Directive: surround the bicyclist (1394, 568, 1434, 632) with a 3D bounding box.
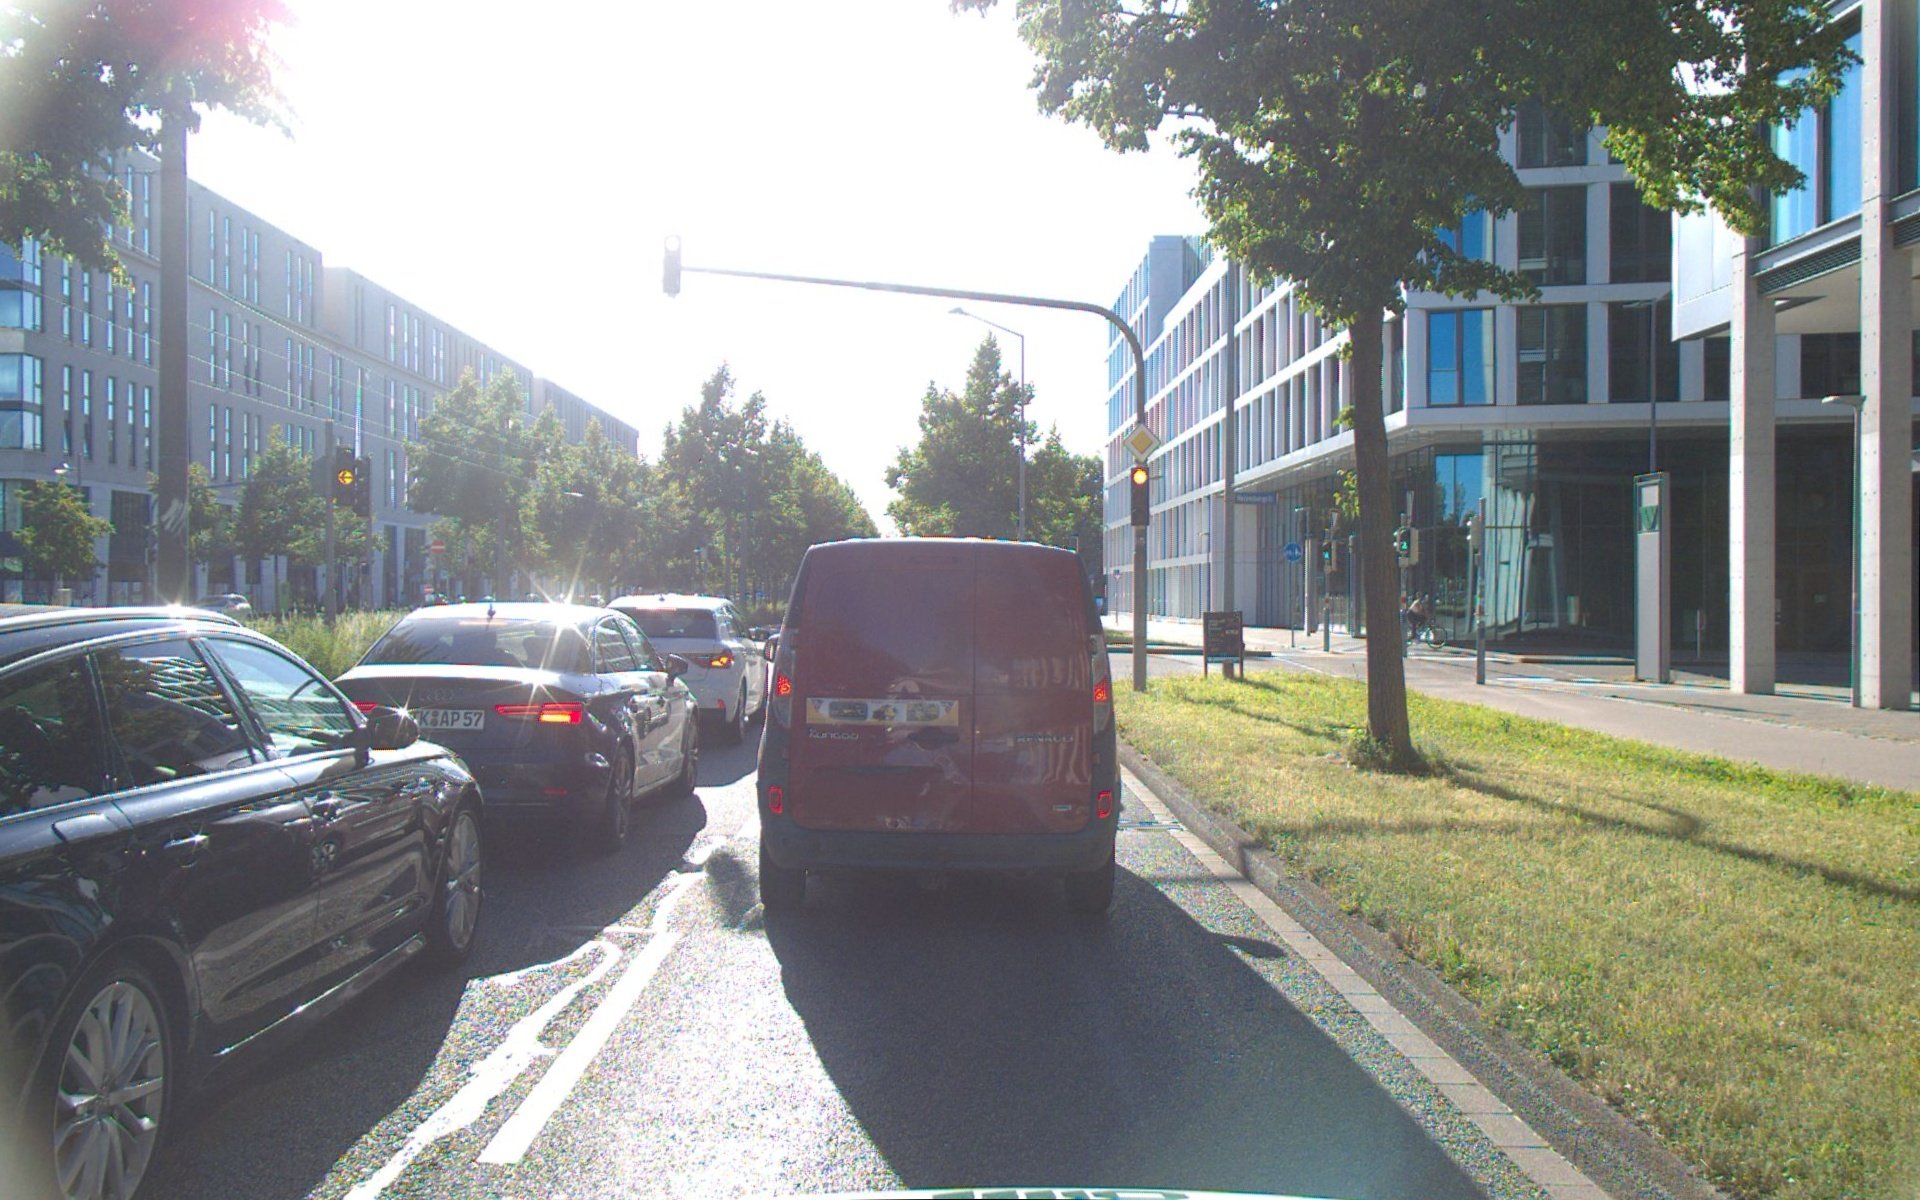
[{"bbox_3d":[14.202,-0.013,51.750,0.983,1.981,0.813,0,0,40],"label":"bicyclist"}]

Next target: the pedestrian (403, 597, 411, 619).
[{"bbox_3d":[-44.836,0.648,134.140,0.458,1.775,0.479,0,0,-1],"label":"pedestrian"}]

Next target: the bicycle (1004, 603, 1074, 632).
[{"bbox_3d":[3.140,0.710,65.728,2.778,1.134,0.821,0,0,2],"label":"bicycle"}]

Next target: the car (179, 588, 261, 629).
[{"bbox_3d":[-34.740,0.371,77.769,1.953,1.845,4.369,0,0,-1],"label":"car"}]

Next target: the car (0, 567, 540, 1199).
[{"bbox_3d":[-2.772,0.682,5.103,1.836,1.510,4.965,0,0,-2],"label":"car"}]

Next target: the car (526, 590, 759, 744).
[{"bbox_3d":[-3.235,0.623,17.557,1.767,1.451,3.900,0,0,-1],"label":"car"}]

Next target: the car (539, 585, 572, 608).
[{"bbox_3d":[-36.363,-0.341,148.771,1.953,2.049,3.999,0,0,-1],"label":"car"}]

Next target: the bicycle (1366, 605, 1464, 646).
[{"bbox_3d":[14.216,0.788,51.734,2.897,1.211,0.813,0,0,41],"label":"bicycle"}]

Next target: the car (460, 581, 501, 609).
[{"bbox_3d":[-35.831,-0.383,123.637,1.953,2.049,3.999,0,0,-1],"label":"car"}]

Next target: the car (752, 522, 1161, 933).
[{"bbox_3d":[-0.043,0.555,9.324,1.804,1.812,3.999,0,0,-1],"label":"car"}]

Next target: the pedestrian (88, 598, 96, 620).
[{"bbox_3d":[-43.293,0.436,82.504,0.248,1.104,0.260,0,0,-1],"label":"pedestrian"}]

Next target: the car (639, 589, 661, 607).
[{"bbox_3d":[-37.213,-0.249,198.658,1.953,2.049,3.999,0,0,-1],"label":"car"}]

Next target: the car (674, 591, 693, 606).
[{"bbox_3d":[-37.165,-0.186,222.299,1.953,2.049,3.999,0,0,-1],"label":"car"}]

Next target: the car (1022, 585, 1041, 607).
[{"bbox_3d":[8.583,-0.512,198.461,1.953,2.540,4.986,0,0,-1],"label":"car"}]

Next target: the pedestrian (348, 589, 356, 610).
[{"bbox_3d":[-42.359,-0.041,115.215,0.458,1.463,0.384,0,0,-35],"label":"pedestrian"}]

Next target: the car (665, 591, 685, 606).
[{"bbox_3d":[-37.353,-0.209,216.673,1.953,2.049,3.999,0,0,-1],"label":"car"}]

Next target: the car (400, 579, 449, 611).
[{"bbox_3d":[-35.280,-0.314,109.107,1.953,2.049,3.999,0,0,-1],"label":"car"}]

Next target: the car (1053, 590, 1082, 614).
[{"bbox_3d":[8.330,0.150,128.104,1.953,1.813,3.999,0,0,-1],"label":"car"}]

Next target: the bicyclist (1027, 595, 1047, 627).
[{"bbox_3d":[3.056,0.433,65.717,0.668,1.297,0.819,0,0,-8],"label":"bicyclist"}]

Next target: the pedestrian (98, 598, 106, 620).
[{"bbox_3d":[-42.890,0.462,82.654,0.248,1.104,0.289,0,0,-1],"label":"pedestrian"}]

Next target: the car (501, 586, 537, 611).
[{"bbox_3d":[-36.242,-0.146,135.943,1.953,2.049,3.999,0,0,-1],"label":"car"}]

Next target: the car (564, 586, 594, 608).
[{"bbox_3d":[-36.381,-0.319,157.871,1.953,2.049,3.999,0,0,-1],"label":"car"}]

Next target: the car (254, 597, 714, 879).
[{"bbox_3d":[-2.807,0.719,10.807,1.804,1.451,4.338,0,0,-1],"label":"car"}]

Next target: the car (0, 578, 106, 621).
[{"bbox_3d":[-33.193,-0.033,60.650,1.729,1.546,3.999,0,0,-1],"label":"car"}]

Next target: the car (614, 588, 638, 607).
[{"bbox_3d":[-36.716,-0.271,181.851,1.953,2.049,3.999,0,0,-1],"label":"car"}]
